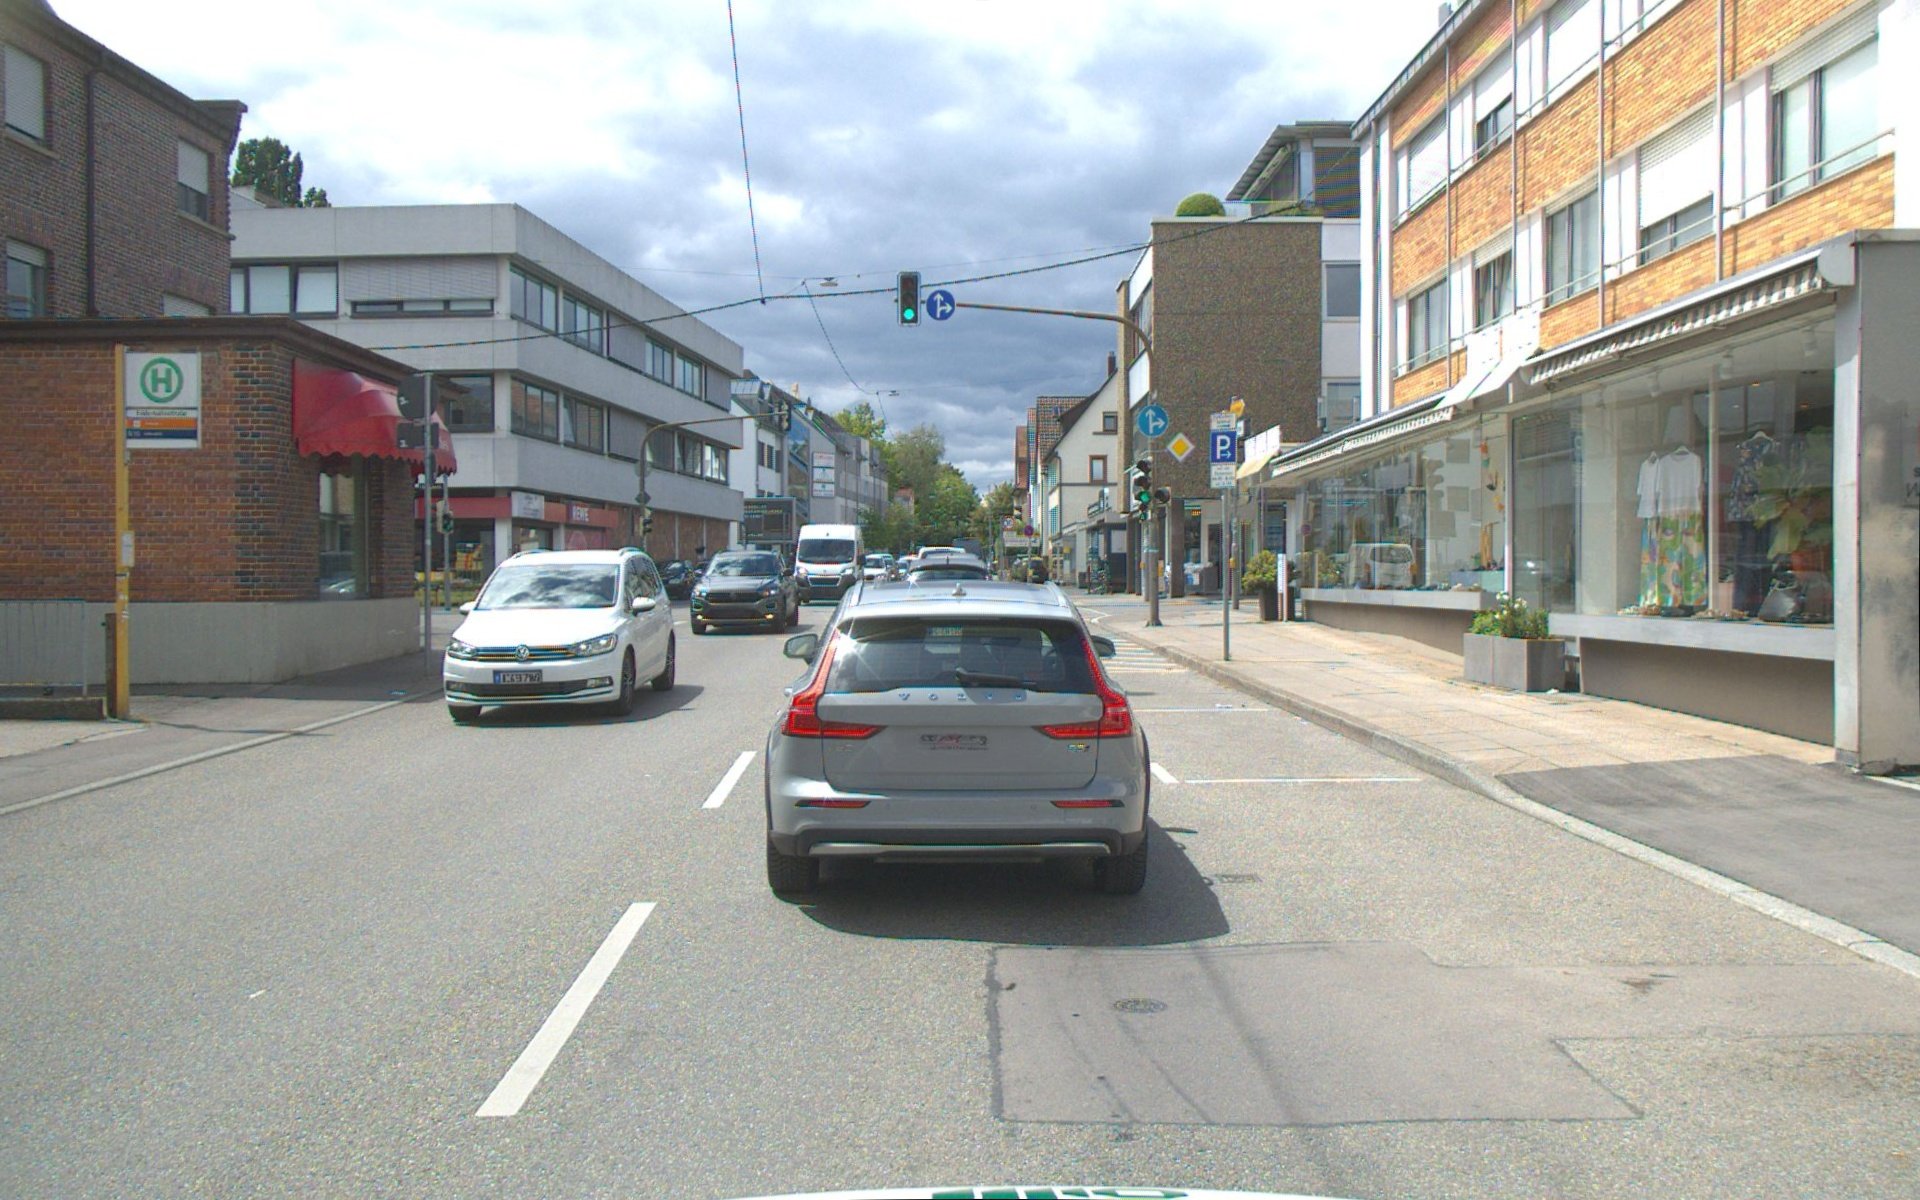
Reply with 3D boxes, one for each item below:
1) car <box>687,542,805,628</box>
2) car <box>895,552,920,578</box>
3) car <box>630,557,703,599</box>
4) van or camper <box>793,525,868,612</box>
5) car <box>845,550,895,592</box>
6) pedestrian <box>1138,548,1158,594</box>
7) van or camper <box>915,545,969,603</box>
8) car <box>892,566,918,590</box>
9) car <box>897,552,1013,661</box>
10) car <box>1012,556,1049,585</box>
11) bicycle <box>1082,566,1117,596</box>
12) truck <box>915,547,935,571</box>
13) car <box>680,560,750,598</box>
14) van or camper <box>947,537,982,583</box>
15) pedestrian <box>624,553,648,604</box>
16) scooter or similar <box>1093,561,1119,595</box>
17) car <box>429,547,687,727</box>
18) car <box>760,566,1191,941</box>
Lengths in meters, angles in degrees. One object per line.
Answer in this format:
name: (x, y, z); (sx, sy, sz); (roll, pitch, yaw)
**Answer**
car: (-4.114, -0.284, 32.351); (1.754, 1.537, 3.845); (-1, 0, 1)
car: (-3.979, -2.631, 126.513); (1.800, 1.951, 4.155); (0, 1, -1)
car: (-10.830, -0.822, 61.289); (1.747, 1.490, 4.089); (1, 1, 3)
van or camper: (-4.072, -1.058, 52.808); (2.105, 2.600, 5.437); (-1, 2, -2)
car: (-3.693, -1.227, 68.765); (1.744, 1.668, 4.221); (-2, 1, 1)
pedestrian: (6.095, -0.940, 53.657); (0.493, 1.484, 0.500); (-3, 0, 13)
van or camper: (-0.628, -0.859, 56.847); (1.782, 1.867, 3.999); (0, -1, -1)
car: (-3.769, -1.531, 113.887); (1.634, 1.581, 4.215); (0, 1, 1)
car: (-0.090, 0.063, 24.833); (1.617, 1.508, 3.607); (0, 1, -1)
car: (3.836, -1.589, 90.697); (1.676, 1.490, 3.998); (0, 0, -2)
bicycle: (5.528, -0.763, 65.760); (0.546, 1.164, 2.289); (-1, 1, -18)
truck: (-4.403, -5.235, 209.165); (2.229, 2.936, 7.080); (-1, 1, 1)
car: (-9.901, -0.870, 67.111); (1.864, 1.468, 4.446); (1, 1, 4)
van or camper: (0.297, -2.453, 102.280); (2.079, 2.733, 4.782); (-1, 1, 1)
pedestrian: (-10.651, -0.704, 54.337); (0.606, 1.670, 0.660); (-1, 1, 1)
scooter or similar: (5.508, -0.830, 62.584); (0.336, 1.275, 1.235); (-3, 1, -26)
car: (-4.135, 0.284, 17.693); (1.739, 1.640, 4.120); (-2, 2, -1)
car: (0.043, 0.602, 8.926); (1.798, 1.512, 4.000); (0, 2, -1)
